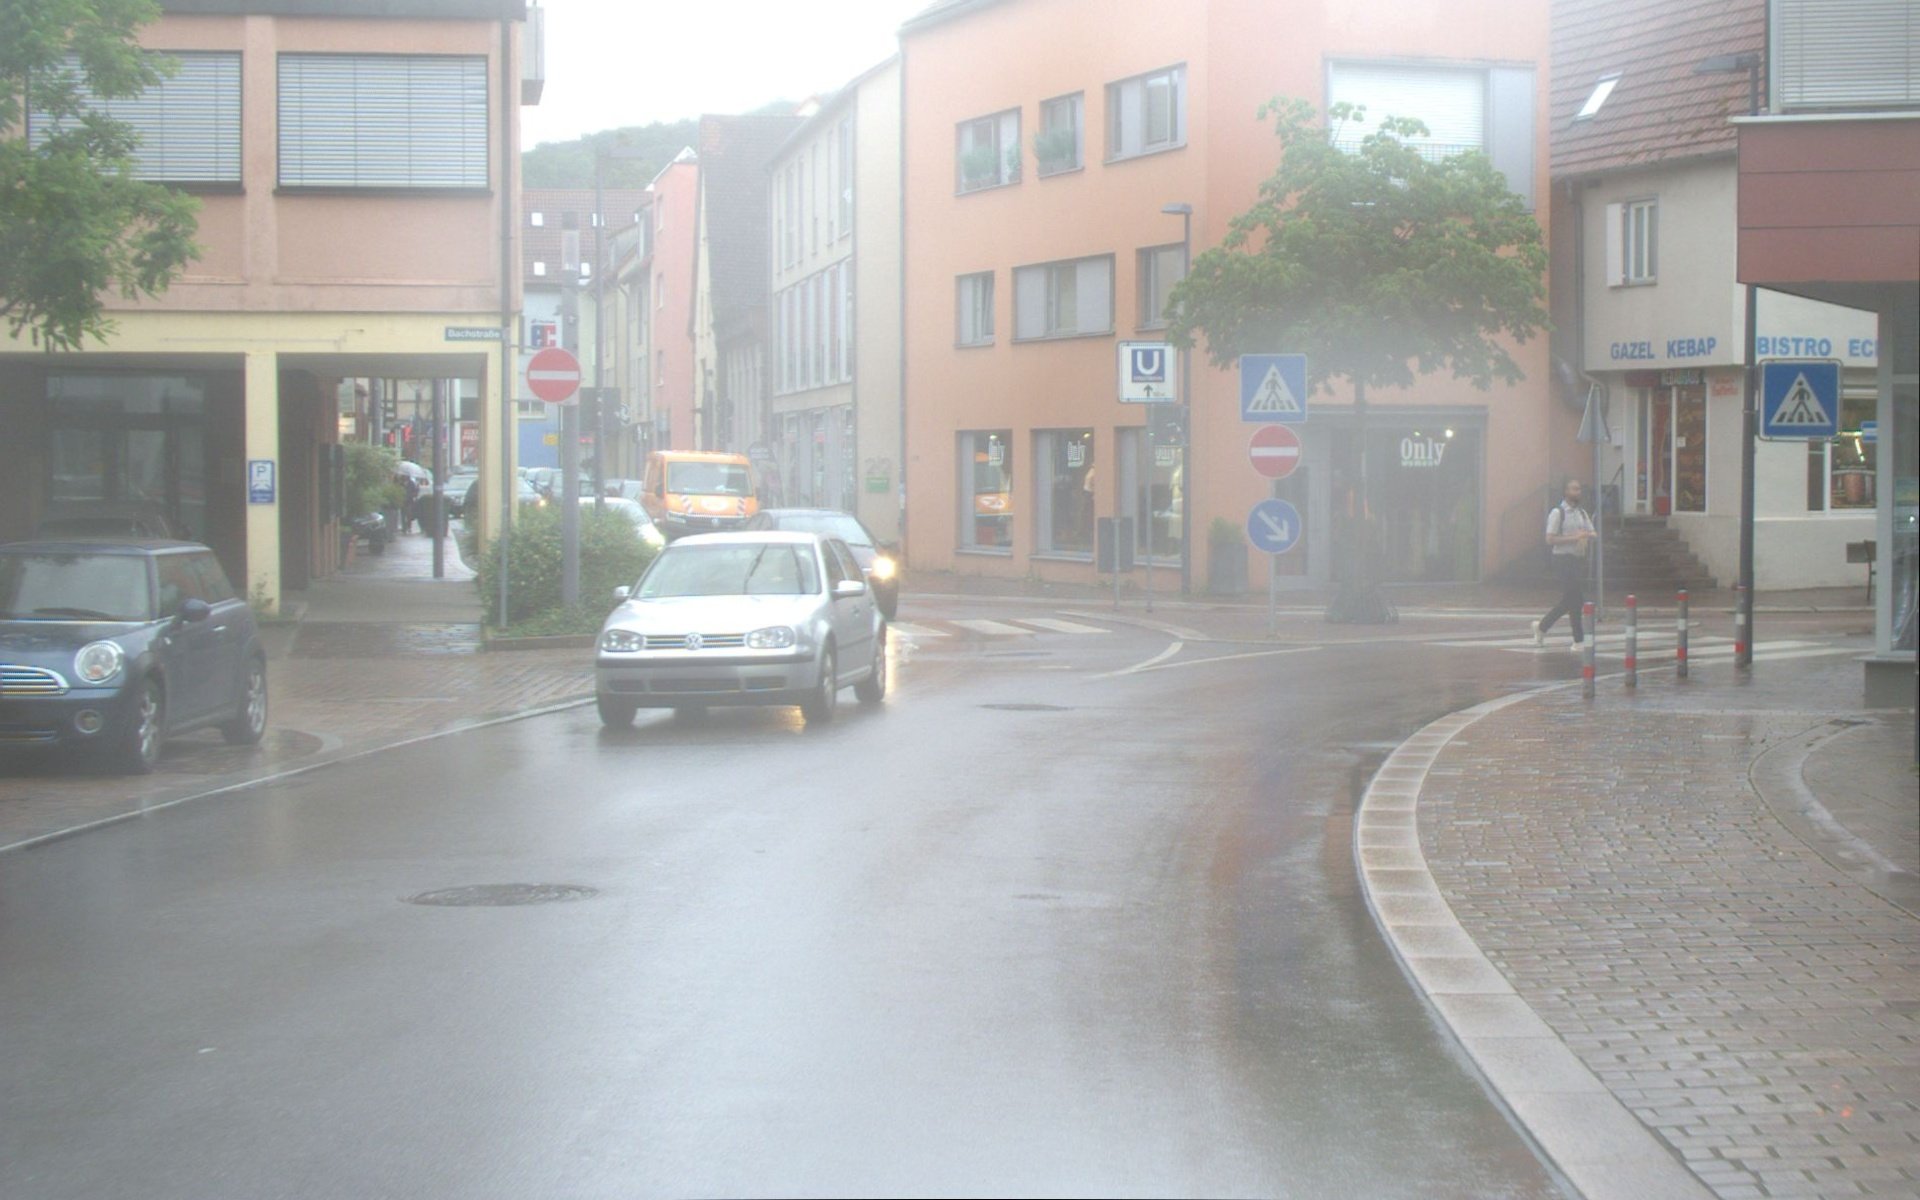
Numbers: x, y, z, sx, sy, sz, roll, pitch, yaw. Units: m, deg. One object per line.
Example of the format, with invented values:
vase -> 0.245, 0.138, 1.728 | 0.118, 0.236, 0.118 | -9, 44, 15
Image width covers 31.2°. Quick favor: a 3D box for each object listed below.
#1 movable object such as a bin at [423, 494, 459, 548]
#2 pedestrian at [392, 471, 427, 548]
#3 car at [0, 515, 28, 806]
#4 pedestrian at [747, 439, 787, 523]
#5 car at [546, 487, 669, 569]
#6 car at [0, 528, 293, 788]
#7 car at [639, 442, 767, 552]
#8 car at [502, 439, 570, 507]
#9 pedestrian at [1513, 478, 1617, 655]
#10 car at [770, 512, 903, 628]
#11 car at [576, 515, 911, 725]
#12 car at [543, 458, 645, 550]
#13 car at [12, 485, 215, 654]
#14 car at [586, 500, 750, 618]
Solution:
movable object such as a bin -> -13.357, -2.049, 88.510 | 0.834, 1.377, 0.854 | -1, 2, -13
pedestrian -> -14.581, -2.400, 91.022 | 0.834, 2.006, 0.854 | -1, 2, -13
car -> -6.097, 0.370, 17.028 | 1.786, 1.571, 4.107 | -1, 1, 1
pedestrian -> -4.679, -2.875, 83.195 | 0.866, 2.006, 0.708 | 0, 2, -12
car -> -6.548, -1.358, 63.506 | 1.993, 1.436, 4.165 | -1, 2, -9
car -> -5.613, 0.296, 22.041 | 1.715, 1.453, 3.910 | 1, 2, 3
car -> -5.356, -2.119, 71.056 | 2.103, 2.139, 4.869 | -2, 2, -10
car -> -13.194, -3.948, 107.235 | 1.993, 2.006, 4.364 | -2, 2, -6
pedestrian -> 6.617, -0.376, 37.615 | 0.863, 1.908, 0.756 | 1, 2, 37
car -> -1.698, -0.442, 46.240 | 1.648, 1.440, 3.984 | -2, 2, -3
car -> -1.586, 0.098, 26.609 | 1.791, 1.412, 4.028 | -2, 2, 8
car -> -9.027, -2.345, 84.442 | 2.103, 2.139, 4.869 | -2, 2, -10
car -> -9.155, -0.381, 37.428 | 1.577, 1.474, 3.825 | 0, 6, -5
car -> -3.920, -0.576, 45.585 | 1.714, 1.453, 3.911 | 1, 2, -11
